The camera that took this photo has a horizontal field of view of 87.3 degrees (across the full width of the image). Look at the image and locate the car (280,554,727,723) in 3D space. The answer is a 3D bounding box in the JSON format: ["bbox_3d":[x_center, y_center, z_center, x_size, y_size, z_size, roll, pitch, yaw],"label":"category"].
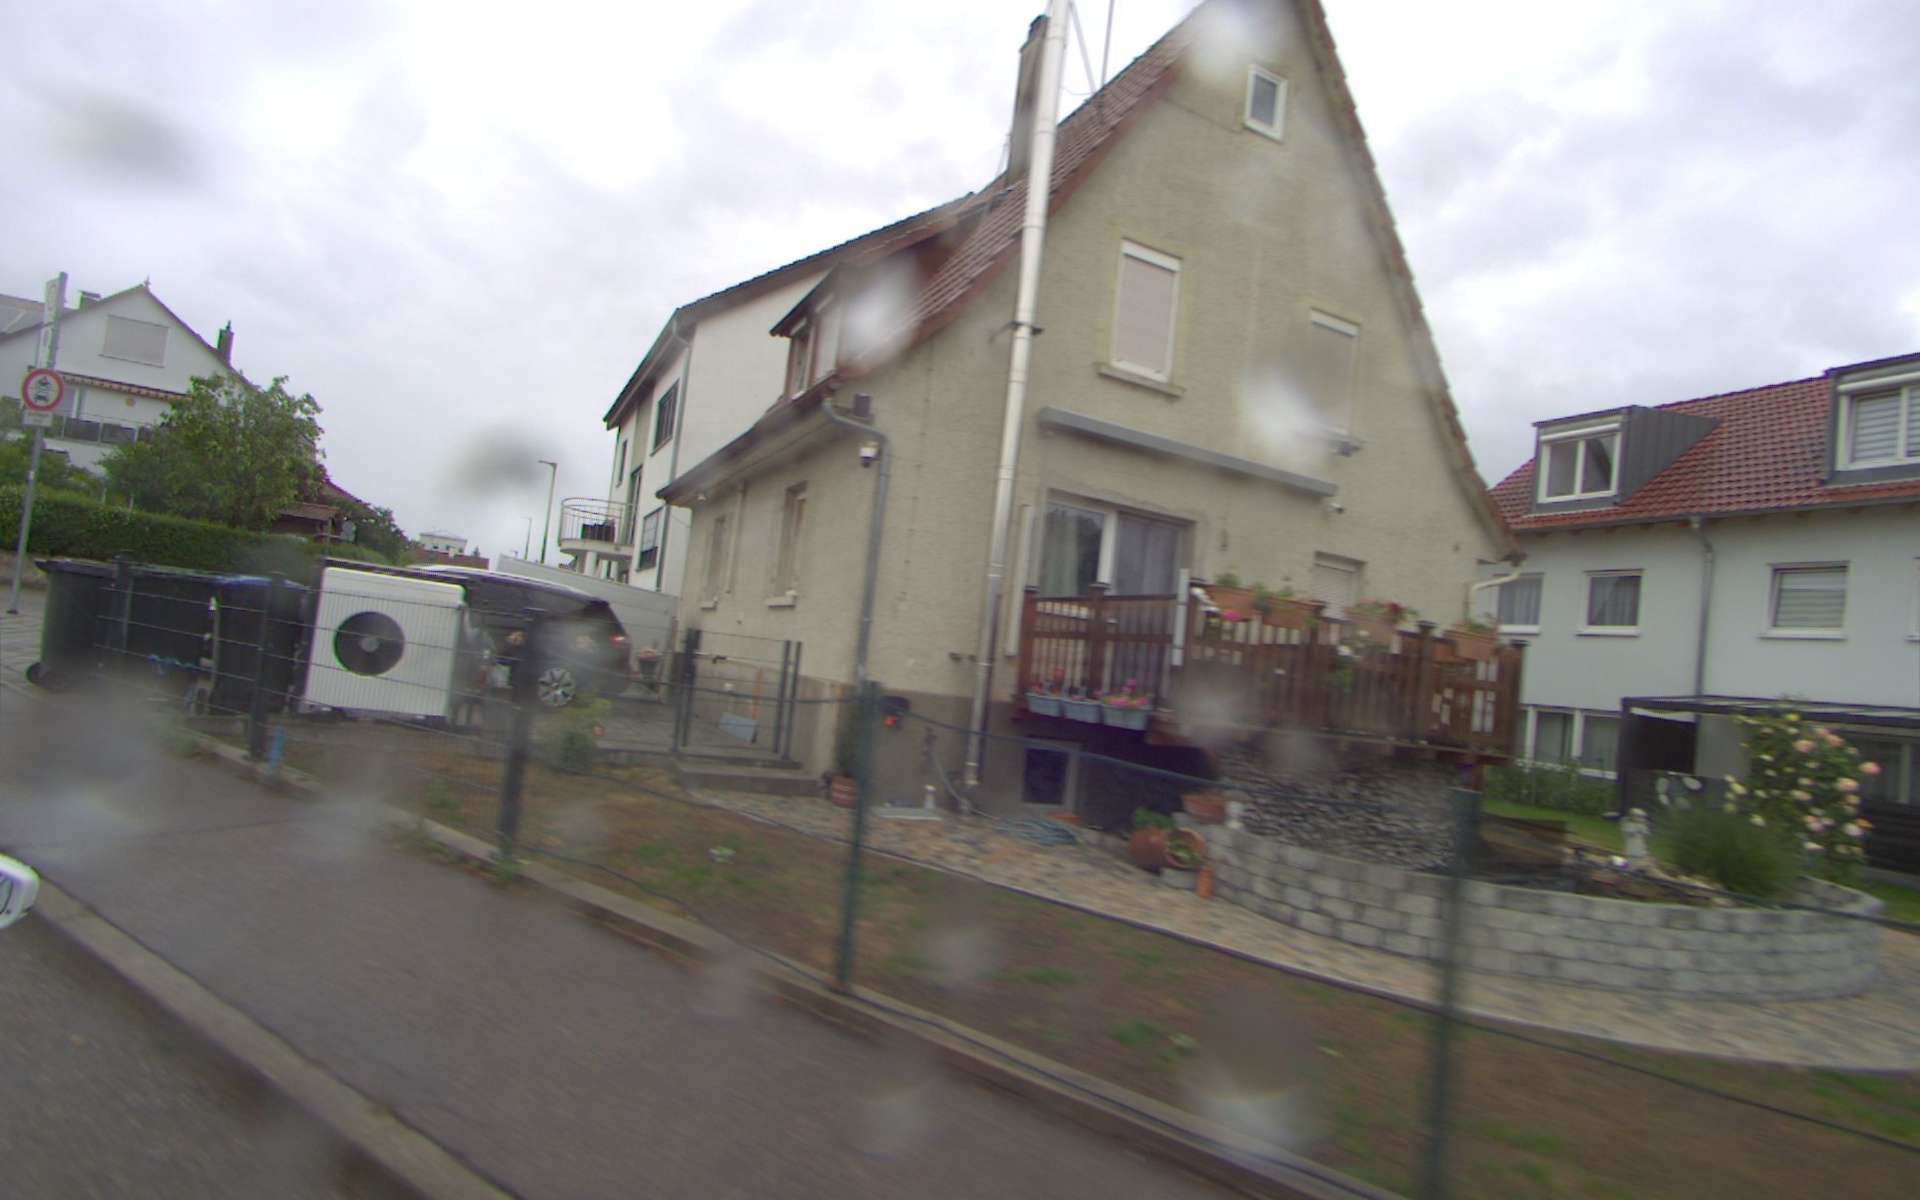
[{"bbox_3d":[-5.447,0.532,12.373,4.544,1.399,1.977,11,-3,-41],"label":"car"}]

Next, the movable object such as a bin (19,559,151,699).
[{"bbox_3d":[-7.087,0.241,8.154,0.532,1.034,0.627,7,0,37],"label":"movable object such as a bin"}]

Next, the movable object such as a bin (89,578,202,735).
[{"bbox_3d":[-5.928,0.403,7.340,0.527,1.034,0.725,7,0,-39],"label":"movable object such as a bin"}]

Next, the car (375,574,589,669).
[{"bbox_3d":[-10.449,0.517,22.211,3.952,1.479,1.864,9,-5,-25],"label":"car"}]

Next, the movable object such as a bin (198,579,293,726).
[{"bbox_3d":[-5.429,0.398,7.643,0.441,1.034,0.518,7,0,-43],"label":"movable object such as a bin"}]

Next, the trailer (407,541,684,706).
[{"bbox_3d":[-6.136,0.395,15.131,3.421,1.817,1.680,11,-4,-23],"label":"trailer"}]

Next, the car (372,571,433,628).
[{"bbox_3d":[-23.737,-0.048,42.862,1.979,2.037,3.971,8,-2,-29],"label":"car"}]
